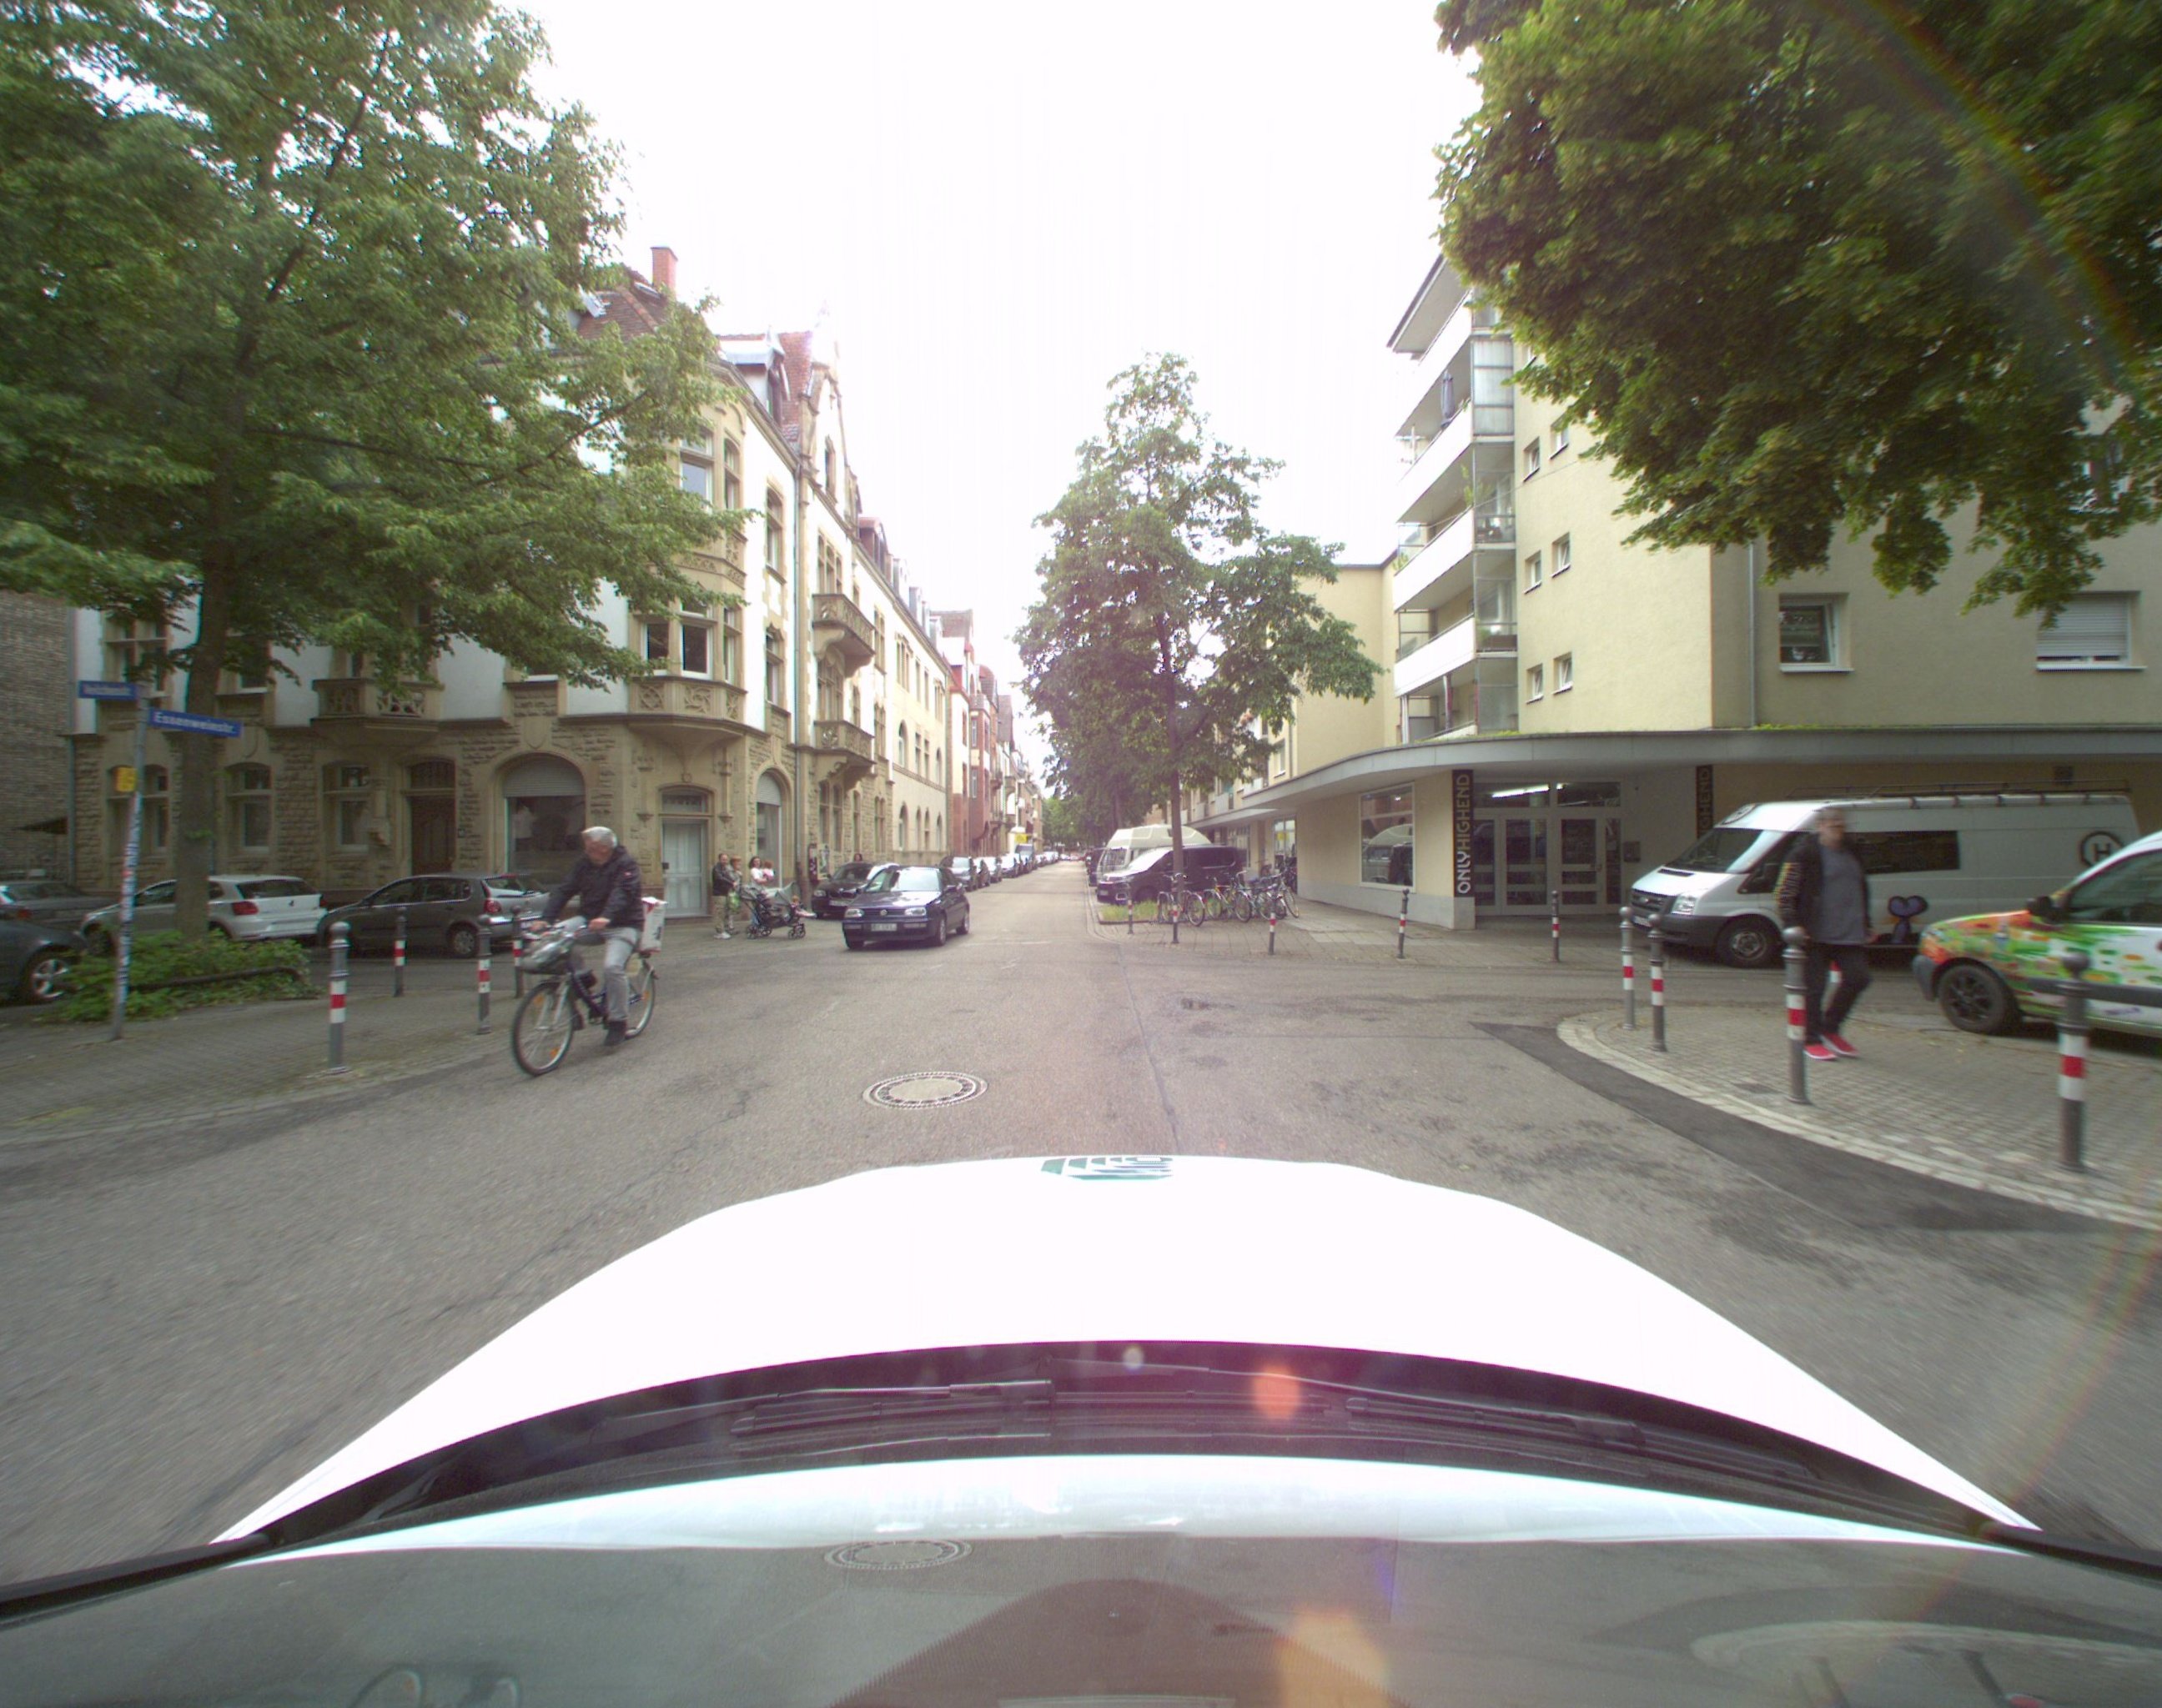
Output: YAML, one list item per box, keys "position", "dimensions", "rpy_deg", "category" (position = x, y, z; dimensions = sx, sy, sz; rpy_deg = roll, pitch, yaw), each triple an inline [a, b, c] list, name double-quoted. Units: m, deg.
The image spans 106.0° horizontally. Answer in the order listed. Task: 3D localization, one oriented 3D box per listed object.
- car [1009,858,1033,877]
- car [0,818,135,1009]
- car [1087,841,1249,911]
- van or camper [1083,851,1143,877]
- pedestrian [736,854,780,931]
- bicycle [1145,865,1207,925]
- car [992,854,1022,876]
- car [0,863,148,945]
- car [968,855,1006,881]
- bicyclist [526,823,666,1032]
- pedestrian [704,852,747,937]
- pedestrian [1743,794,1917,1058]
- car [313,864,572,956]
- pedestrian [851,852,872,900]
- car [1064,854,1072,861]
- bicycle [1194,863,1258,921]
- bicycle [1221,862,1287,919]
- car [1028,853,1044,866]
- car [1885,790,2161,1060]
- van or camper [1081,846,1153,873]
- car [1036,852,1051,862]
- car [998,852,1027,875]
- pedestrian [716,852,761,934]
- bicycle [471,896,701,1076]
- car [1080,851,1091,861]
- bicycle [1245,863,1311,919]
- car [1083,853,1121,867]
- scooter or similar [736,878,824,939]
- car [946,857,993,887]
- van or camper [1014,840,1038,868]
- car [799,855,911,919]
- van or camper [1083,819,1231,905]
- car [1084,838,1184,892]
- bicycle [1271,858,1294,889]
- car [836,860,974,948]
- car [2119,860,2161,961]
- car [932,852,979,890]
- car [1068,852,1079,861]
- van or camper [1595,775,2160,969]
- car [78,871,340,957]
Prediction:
- position: [-4.921, 1.054, 67.193]
  dimensions: [1.629, 1.473, 4.000]
  rpy_deg: [1, 0, 0]
  category: "car"
- position: [-11.927, 0.620, 7.695]
  dimensions: [1.828, 1.968, 3.946]
  rpy_deg: [-1, 0, -11]
  category: "car"
- position: [2.548, 0.575, 23.774]
  dimensions: [4.353, 1.854, 1.895]
  rpy_deg: [-1, 0, -25]
  category: "car"
- position: [2.759, 0.869, 70.527]
  dimensions: [4.754, 1.994, 1.983]
  rpy_deg: [-2, -2, -26]
  category: "van or camper"
- position: [-6.899, 0.794, 17.396]
  dimensions: [0.623, 1.593, 0.674]
  rpy_deg: [0, 0, 41]
  category: "pedestrian"
- position: [1.998, 0.837, 17.303]
  dimensions: [0.550, 1.173, 1.716]
  rpy_deg: [-1, 0, -22]
  category: "bicycle"
- position: [-5.048, 0.734, 55.861]
  dimensions: [1.657, 1.420, 3.928]
  rpy_deg: [1, 0, 0]
  category: "car"
- position: [-20.910, 0.928, 16.051]
  dimensions: [3.470, 1.460, 1.653]
  rpy_deg: [1, -1, 9]
  category: "car"
- position: [-5.382, 0.768, 47.144]
  dimensions: [1.721, 1.386, 4.136]
  rpy_deg: [1, 0, 0]
  category: "car"
- position: [-3.762, 0.543, 6.364]
  dimensions: [0.645, 1.538, 0.677]
  rpy_deg: [-1, 0, 2]
  category: "bicyclist"
- position: [-6.977, 0.781, 15.994]
  dimensions: [0.524, 1.643, 0.530]
  rpy_deg: [1, 0, 12]
  category: "pedestrian"
- position: [5.318, 0.488, 5.810]
  dimensions: [0.776, 1.797, 0.509]
  rpy_deg: [0, 0, 2]
  category: "pedestrian"
- position: [-11.554, 0.988, 14.844]
  dimensions: [3.547, 1.460, 1.654]
  rpy_deg: [-1, 2, 9]
  category: "car"
- position: [-7.003, 0.696, 25.993]
  dimensions: [0.514, 1.518, 0.546]
  rpy_deg: [-1, 0, 0]
  category: "pedestrian"
- position: [-3.072, 0.858, 188.348]
  dimensions: [1.815, 1.645, 3.752]
  rpy_deg: [1, -1, -1]
  category: "car"
- position: [3.148, 0.796, 17.786]
  dimensions: [0.550, 1.173, 1.716]
  rpy_deg: [-1, 0, -22]
  category: "bicycle"
- position: [3.810, 0.779, 18.069]
  dimensions: [0.550, 1.173, 1.716]
  rpy_deg: [-1, 0, -22]
  category: "bicycle"
- position: [-5.435, 0.676, 98.420]
  dimensions: [1.784, 1.480, 4.021]
  rpy_deg: [0, 0, -1]
  category: "car"
- position: [8.150, 0.471, 5.418]
  dimensions: [1.763, 1.819, 4.003]
  rpy_deg: [-1, 0, 2]
  category: "car"
- position: [2.745, 0.415, 61.902]
  dimensions: [5.035, 1.869, 2.108]
  rpy_deg: [-2, 0, -28]
  category: "van or camper"
- position: [-5.533, 0.453, 121.358]
  dimensions: [1.987, 1.475, 4.000]
  rpy_deg: [-1, 0, 0]
  category: "car"
- position: [-5.145, 0.659, 61.217]
  dimensions: [1.780, 1.646, 4.361]
  rpy_deg: [1, 0, 0]
  category: "car"
- position: [-6.977, 0.776, 16.616]
  dimensions: [0.612, 1.643, 0.605]
  rpy_deg: [0, 0, 12]
  category: "pedestrian"
- position: [-3.745, 0.933, 6.374]
  dimensions: [0.631, 1.094, 1.800]
  rpy_deg: [-1, 1, 2]
  category: "bicycle"
- position: [0.865, 0.422, 165.412]
  dimensions: [1.987, 2.013, 3.999]
  rpy_deg: [2, 0, -1]
  category: "car"
- position: [4.398, 0.793, 18.304]
  dimensions: [0.550, 1.173, 1.685]
  rpy_deg: [-1, 0, -22]
  category: "bicycle"
- position: [2.435, 0.697, 94.980]
  dimensions: [4.036, 1.559, 1.866]
  rpy_deg: [0, 0, -31]
  category: "car"
- position: [-5.962, 1.060, 16.172]
  dimensions: [1.459, 1.104, 0.678]
  rpy_deg: [2, 0, 11]
  category: "scooter or similar"
- position: [-5.442, 0.885, 40.259]
  dimensions: [1.720, 1.386, 3.928]
  rpy_deg: [1, -1, 0]
  category: "car"
- position: [-5.462, -0.034, 82.112]
  dimensions: [2.001, 2.651, 5.316]
  rpy_deg: [-1, 1, 0]
  category: "van or camper"
- position: [-5.773, 0.808, 21.300]
  dimensions: [1.703, 1.495, 4.001]
  rpy_deg: [1, -1, 1]
  category: "car"
- position: [2.531, 0.220, 26.666]
  dimensions: [4.613, 2.596, 1.891]
  rpy_deg: [-1, 0, -33]
  category: "van or camper"
- position: [2.361, 0.448, 35.519]
  dimensions: [2.041, 2.196, 4.426]
  rpy_deg: [-1, 0, 42]
  category: "car"
- position: [7.449, 0.709, 30.193]
  dimensions: [0.483, 1.090, 1.701]
  rpy_deg: [-1, 0, 2]
  category: "bicycle"
- position: [-3.138, 0.851, 15.268]
  dimensions: [1.702, 1.413, 3.852]
  rpy_deg: [-1, -1, 0]
  category: "car"
- position: [17.231, 0.787, 10.732]
  dimensions: [4.140, 1.428, 1.913]
  rpy_deg: [-1, 0, 12]
  category: "car"
- position: [-5.526, 0.719, 36.230]
  dimensions: [1.641, 1.570, 2.956]
  rpy_deg: [1, 1, -1]
  category: "car"
- position: [-1.433, 0.478, 162.335]
  dimensions: [1.987, 1.794, 4.000]
  rpy_deg: [1, -1, 1]
  category: "car"
- position: [11.070, 0.207, 11.831]
  dimensions: [5.740, 2.494, 2.141]
  rpy_deg: [-1, 3, 6]
  category: "van or camper"
- position: [-16.436, 1.080, 15.432]
  dimensions: [3.470, 1.460, 1.653]
  rpy_deg: [1, -1, 9]
  category: "car"
